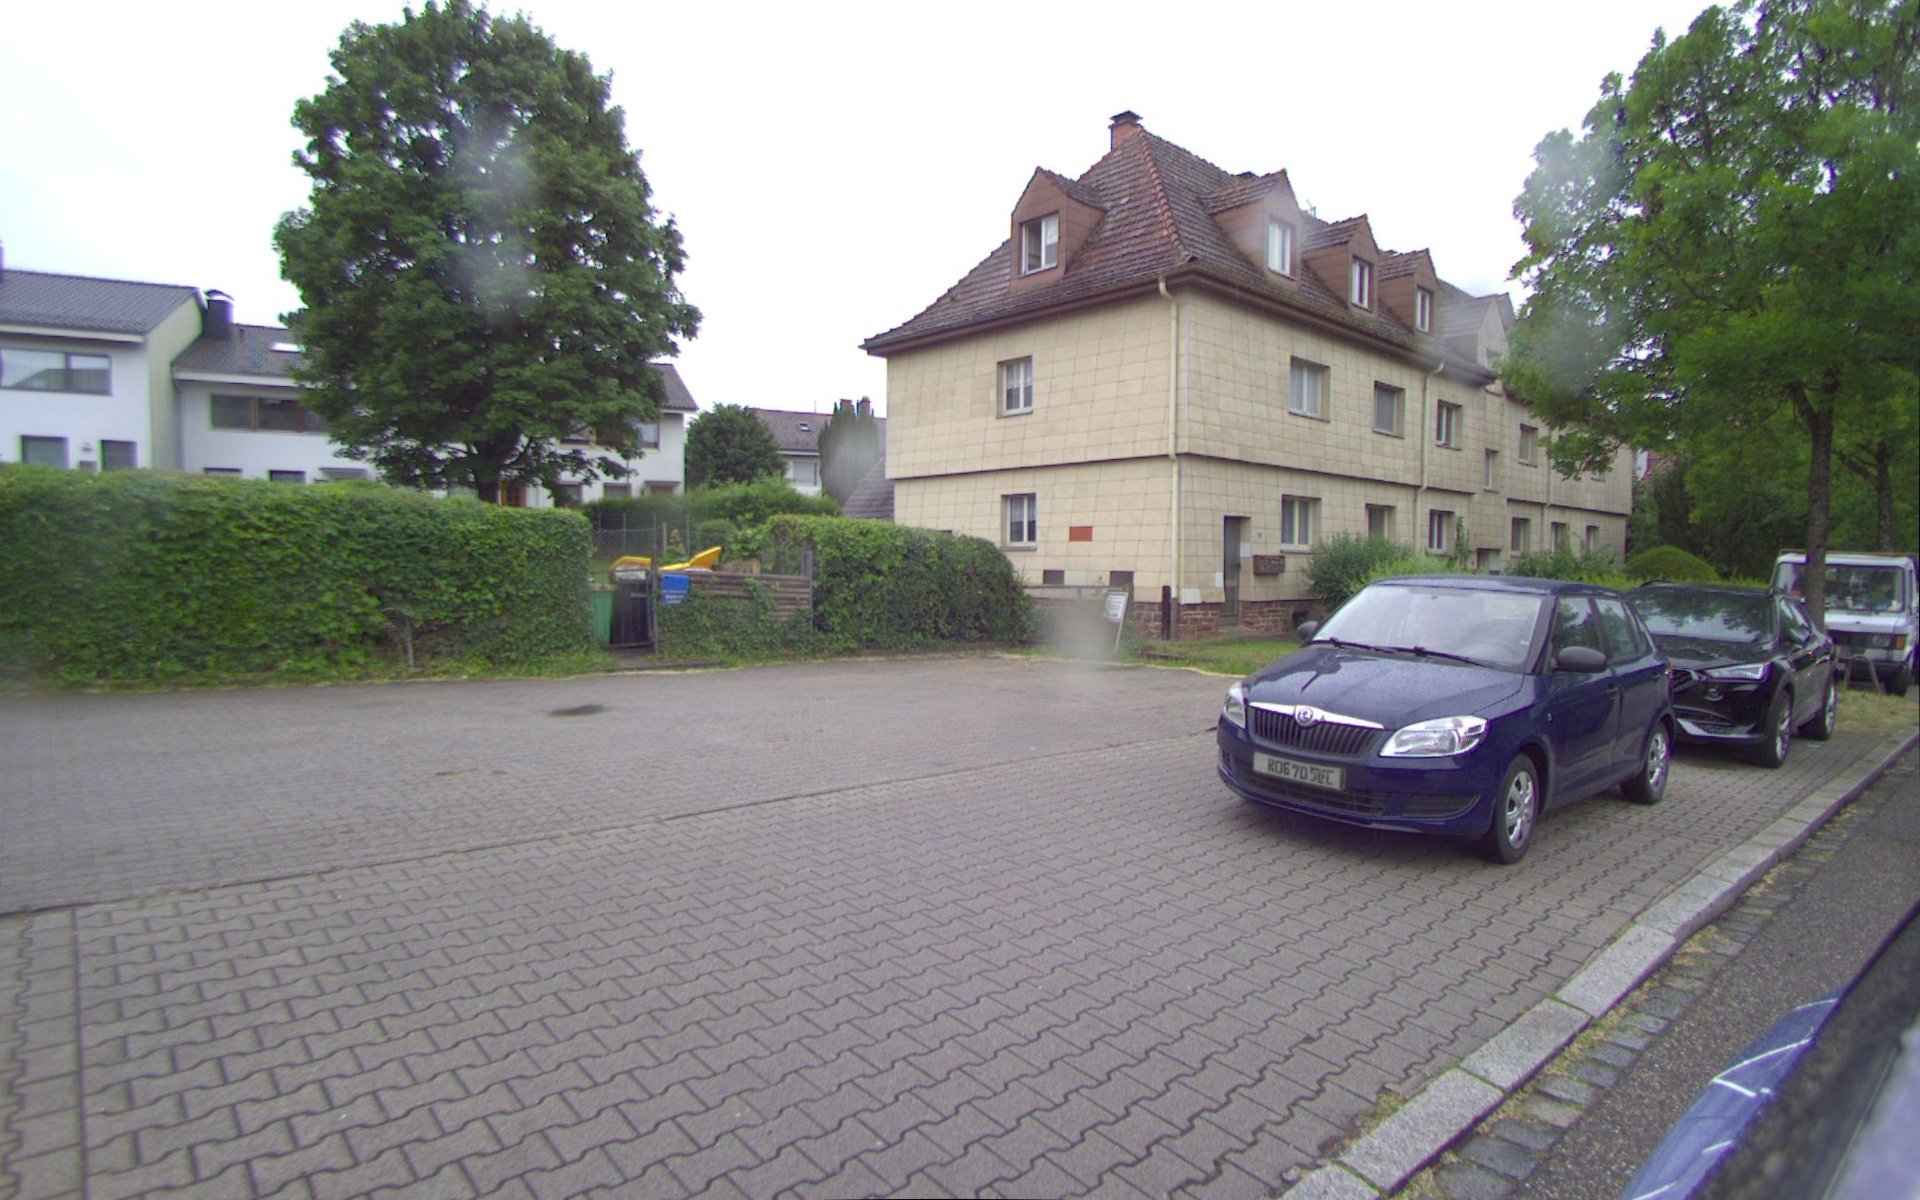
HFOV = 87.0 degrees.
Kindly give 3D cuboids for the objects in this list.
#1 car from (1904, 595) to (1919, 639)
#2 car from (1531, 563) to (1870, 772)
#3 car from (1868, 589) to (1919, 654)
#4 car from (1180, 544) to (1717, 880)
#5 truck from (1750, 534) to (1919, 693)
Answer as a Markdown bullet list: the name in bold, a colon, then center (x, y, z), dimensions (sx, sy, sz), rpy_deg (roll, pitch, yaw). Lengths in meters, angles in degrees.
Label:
- **car**: center (33.465, 0.607, 34.379), dimensions (4.423, 1.406, 1.691), rpy_deg (0, 4, -43)
- **car**: center (7.233, 0.503, 9.734), dimensions (4.111, 1.516, 1.718), rpy_deg (0, 4, -42)
- **car**: center (23.760, 0.594, 24.893), dimensions (3.951, 1.453, 1.605), rpy_deg (3, 3, -42)
- **car**: center (3.242, 0.485, 6.394), dimensions (3.787, 1.490, 1.608), rpy_deg (1, 3, -40)
- **truck**: center (15.718, 0.160, 17.541), dimensions (6.391, 2.248, 2.084), rpy_deg (0, 4, -43)
